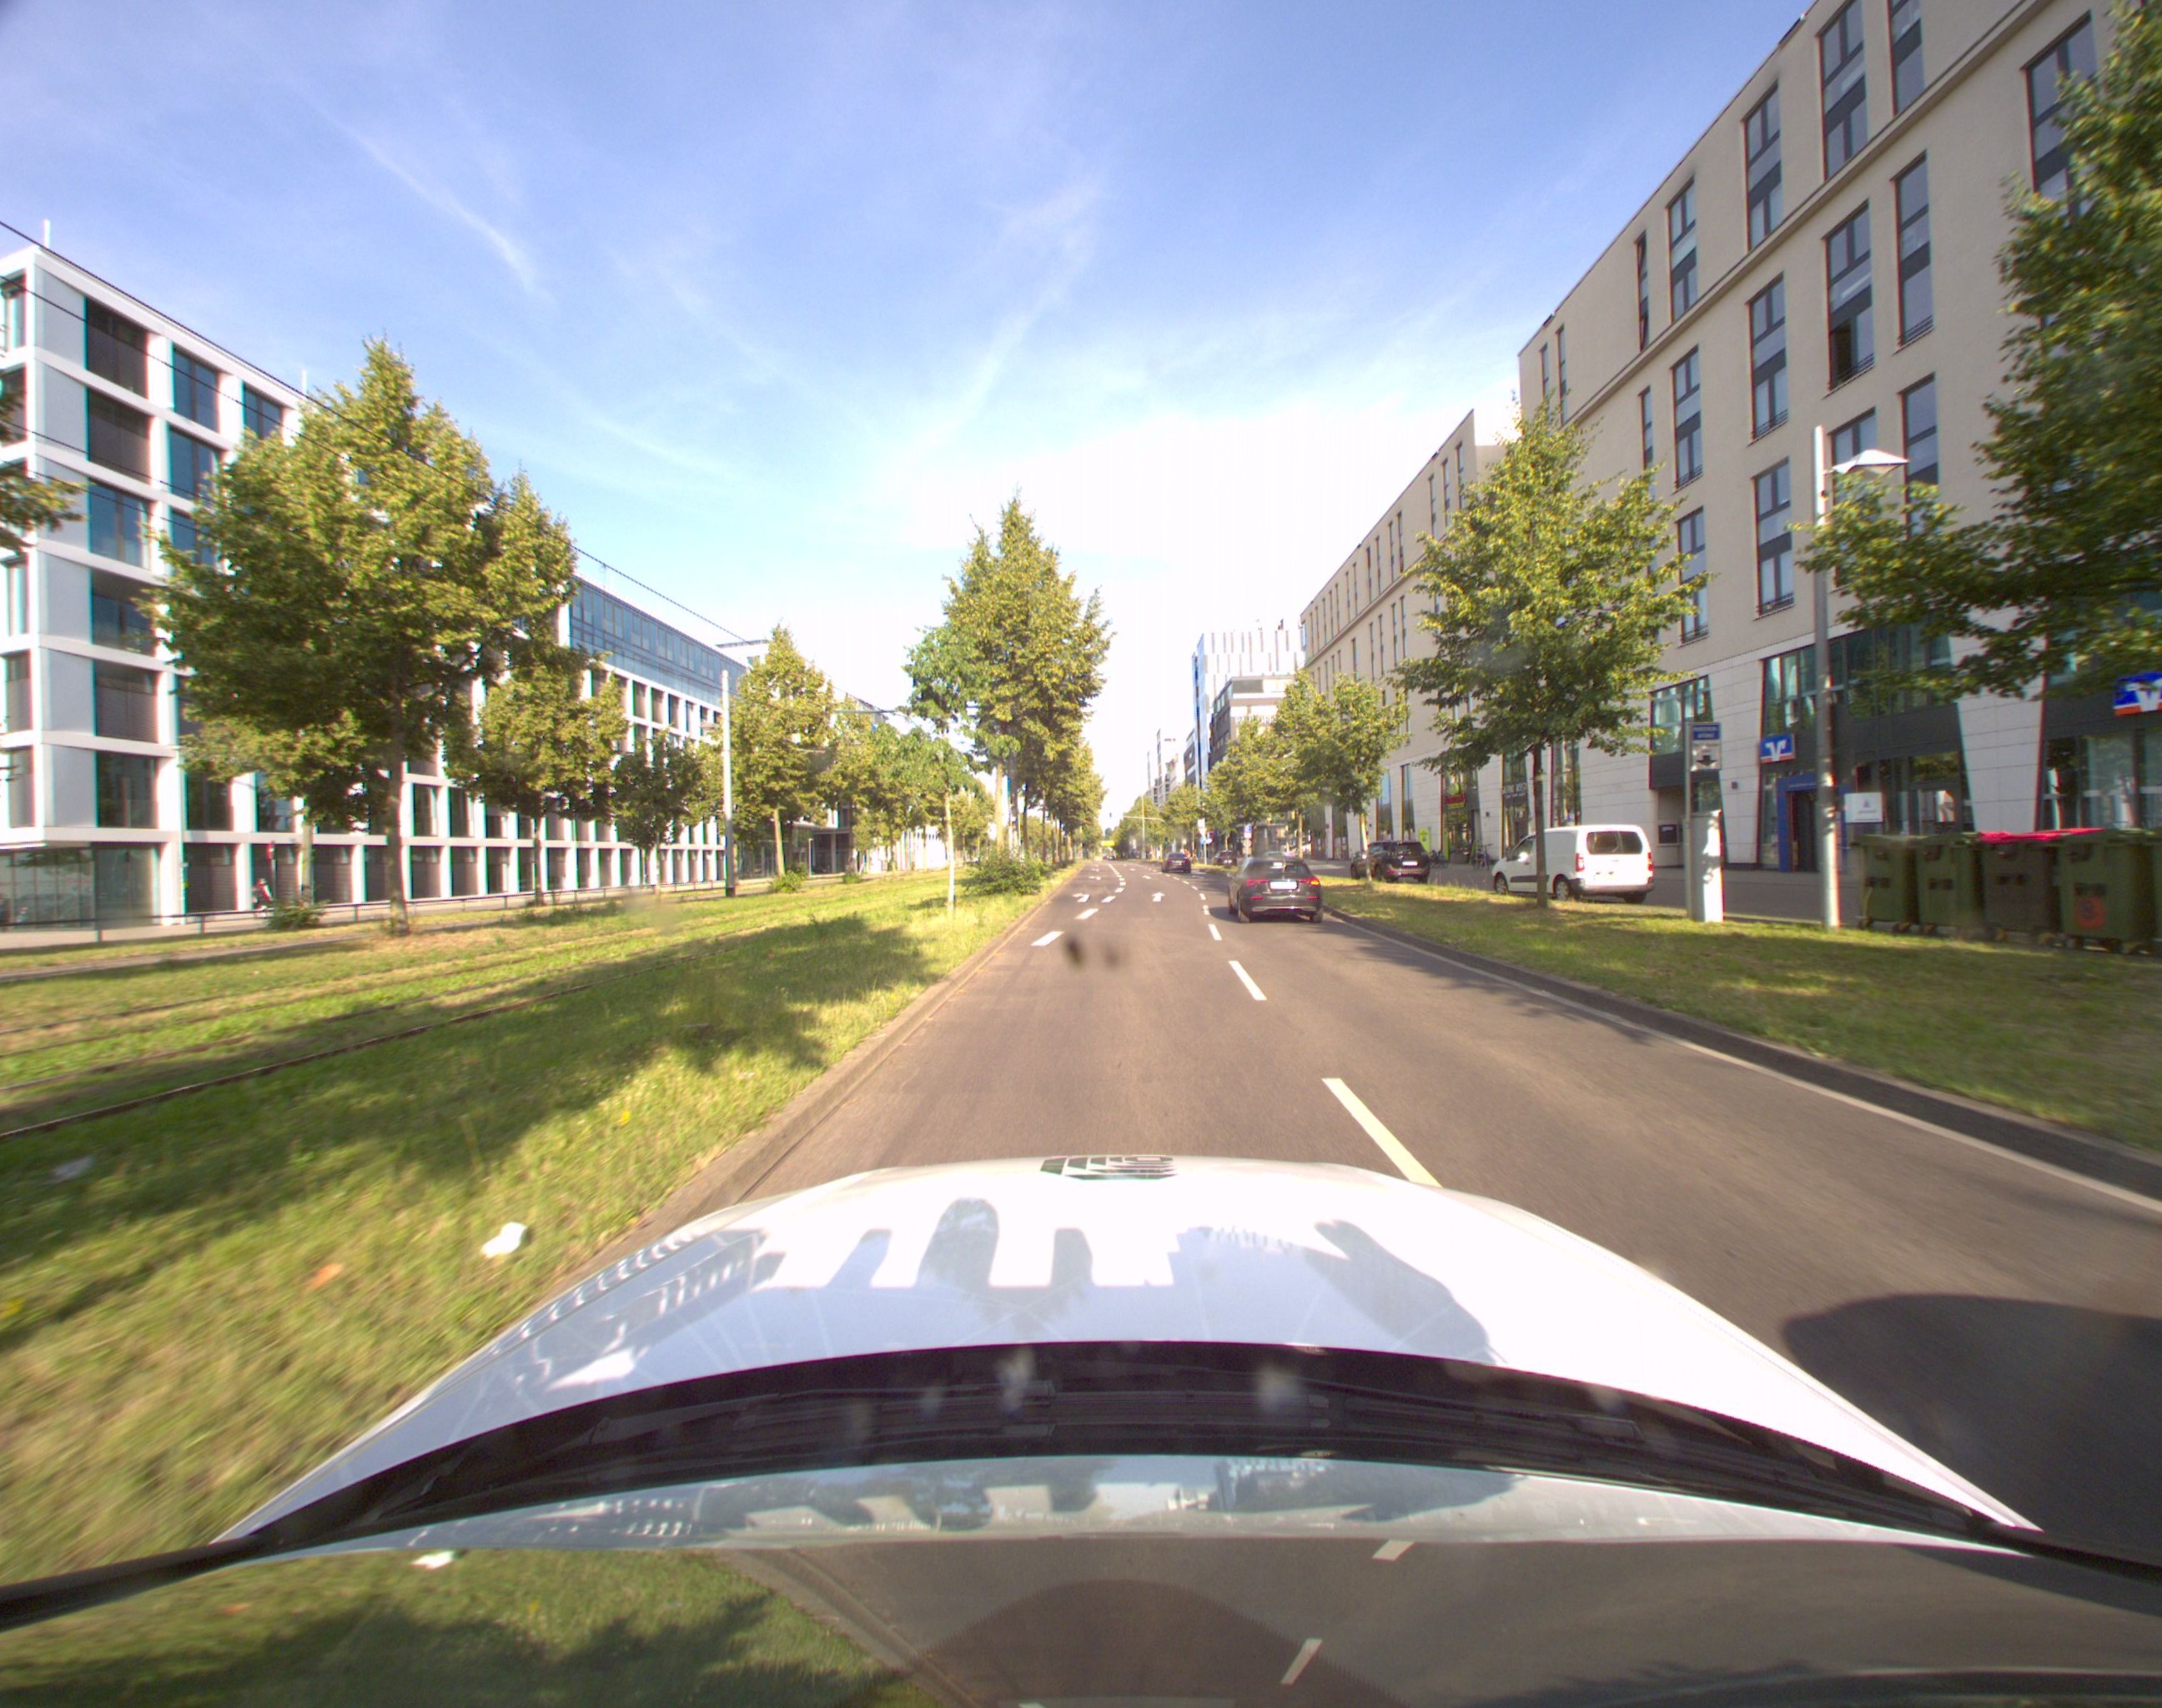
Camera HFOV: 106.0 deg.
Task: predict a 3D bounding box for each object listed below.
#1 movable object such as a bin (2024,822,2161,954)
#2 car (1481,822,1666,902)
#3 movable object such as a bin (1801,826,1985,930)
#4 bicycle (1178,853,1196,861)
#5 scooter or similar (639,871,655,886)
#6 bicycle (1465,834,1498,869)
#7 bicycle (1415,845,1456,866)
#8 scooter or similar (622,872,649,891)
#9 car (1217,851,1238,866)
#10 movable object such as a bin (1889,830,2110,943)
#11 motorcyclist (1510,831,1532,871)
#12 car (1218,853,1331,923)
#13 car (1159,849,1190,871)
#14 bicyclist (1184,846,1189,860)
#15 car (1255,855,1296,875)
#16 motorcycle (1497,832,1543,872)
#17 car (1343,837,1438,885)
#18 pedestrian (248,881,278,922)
[{"bbox_3d":[10.792,0.323,8.185,1.274,1.237,1.190,0,-1,-3],"label":"movable object such as a bin"},{"bbox_3d":[11.632,0.187,19.626,1.822,1.711,4.294,0,-1,-1],"label":"car"},{"bbox_3d":[10.723,0.304,10.819,1.274,1.291,1.177,0,-1,-3],"label":"movable object such as a bin"},{"bbox_3d":[12.991,0.387,100.009,2.129,1.013,0.571,0,-1,-3],"label":"bicycle"},{"bbox_3d":[-34.870,1.962,65.403,0.333,1.226,1.304,0,-1,14],"label":"scooter or similar"},{"bbox_3d":[19.353,-0.115,39.383,0.553,1.619,2.213,0,-1,2],"label":"bicycle"},{"bbox_3d":[19.263,0.087,44.250,0.639,1.084,1.881,-1,-1,-45],"label":"bicycle"},{"bbox_3d":[-34.655,2.141,63.331,1.920,1.477,0.415,0,-1,4],"label":"scooter or similar"},{"bbox_3d":[13.193,0.424,73.623,1.599,1.370,4.164,0,-1,6],"label":"car"},{"bbox_3d":[10.756,0.361,9.606,1.274,1.237,1.190,0,-1,-3],"label":"movable object such as a bin"},{"bbox_3d":[18.598,-0.120,34.432,0.622,1.640,0.417,-4,0,-3],"label":"motorcyclist"},{"bbox_3d":[4.292,0.714,18.655,1.767,1.424,3.962,0,-1,2],"label":"car"},{"bbox_3d":[6.612,0.441,57.669,1.853,1.524,3.786,0,-1,1],"label":"car"},{"bbox_3d":[12.960,-0.082,100.018,0.573,1.707,0.540,0,-1,-3],"label":"bicyclist"},{"bbox_3d":[12.420,0.702,52.243,1.702,1.242,3.905,0,-1,0],"label":"car"},{"bbox_3d":[18.572,-0.071,34.508,0.699,1.617,2.011,-5,-1,-1],"label":"motorcycle"},{"bbox_3d":[11.920,0.226,31.679,1.891,1.708,4.676,0,1,-1],"label":"car"},{"bbox_3d":[-35.319,2.025,35.159,0.565,1.728,0.691,0,-1,1],"label":"pedestrian"}]
